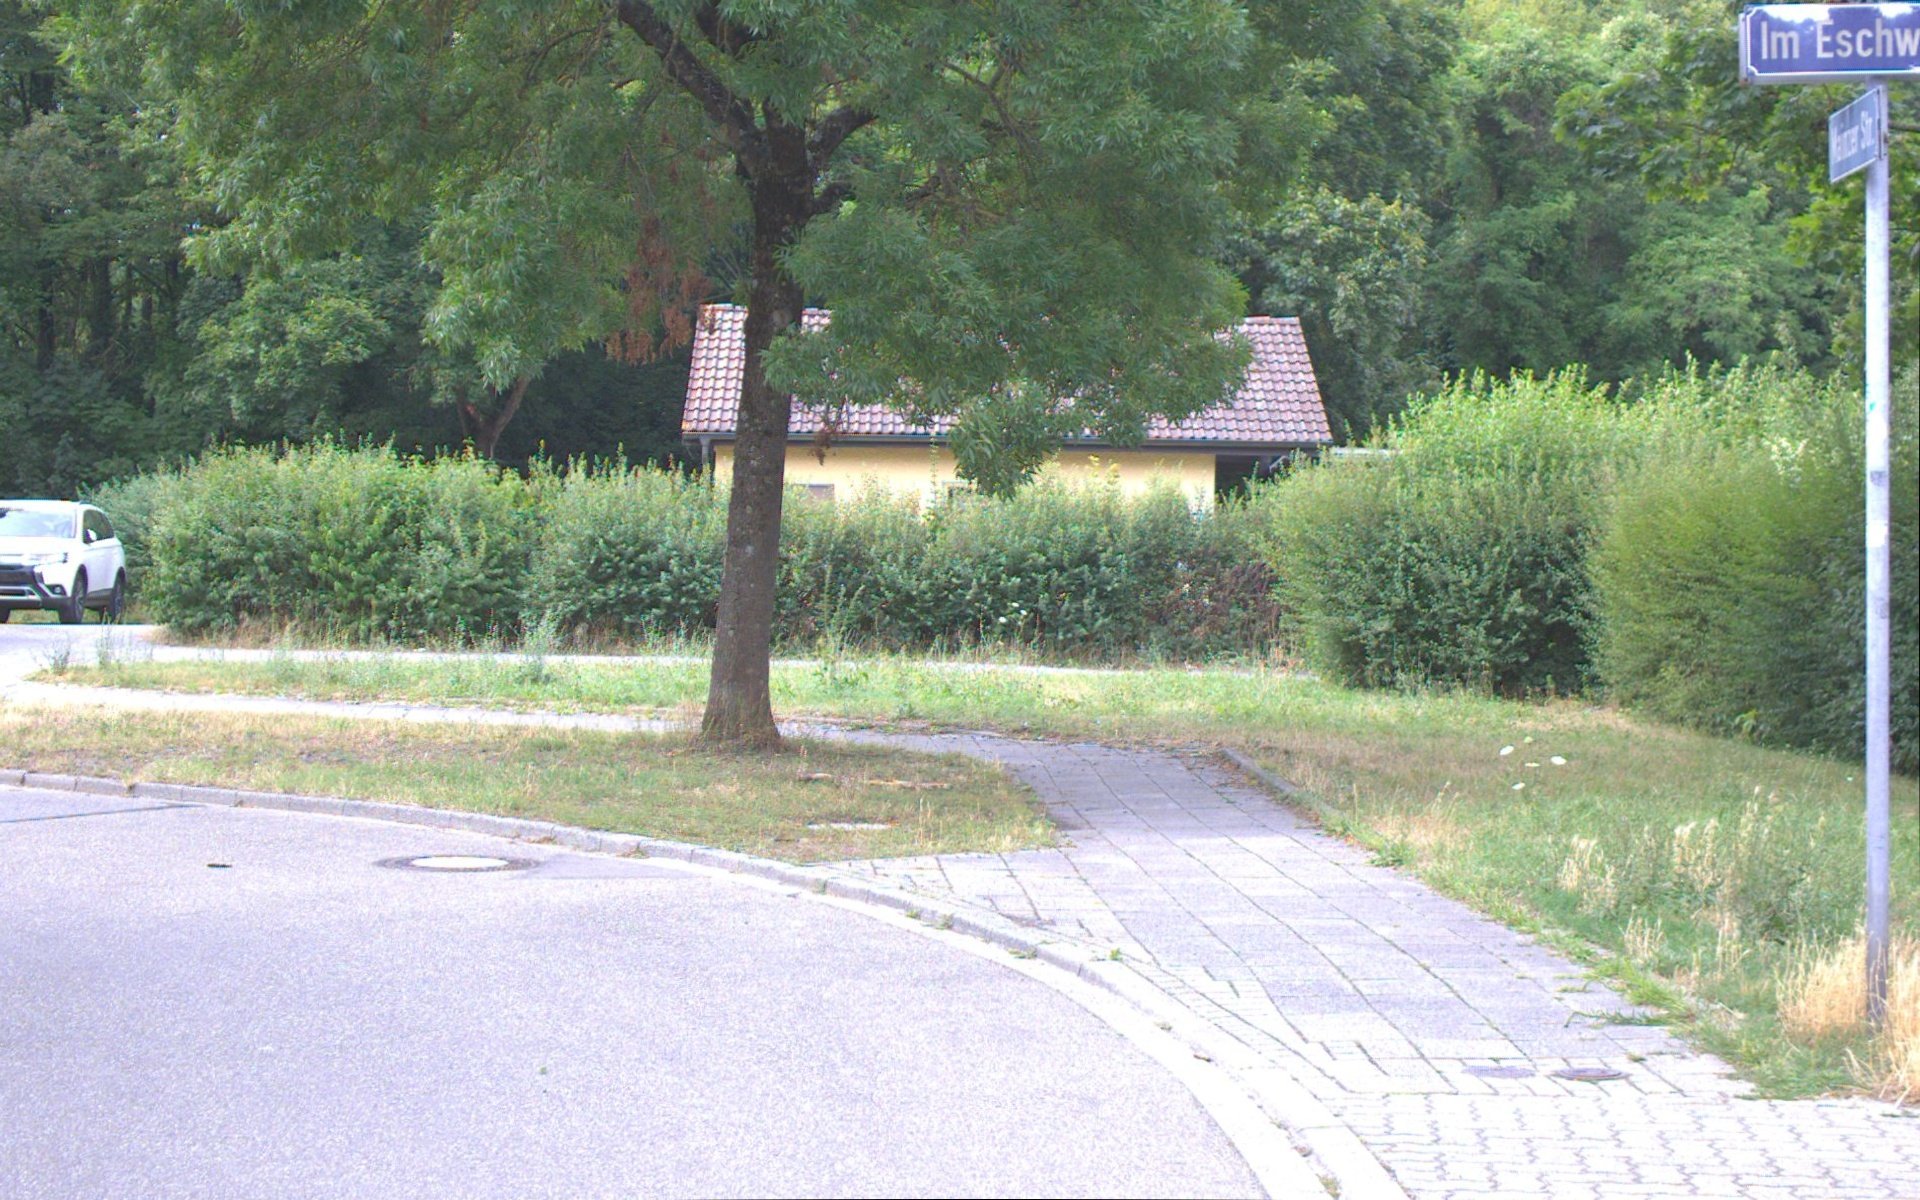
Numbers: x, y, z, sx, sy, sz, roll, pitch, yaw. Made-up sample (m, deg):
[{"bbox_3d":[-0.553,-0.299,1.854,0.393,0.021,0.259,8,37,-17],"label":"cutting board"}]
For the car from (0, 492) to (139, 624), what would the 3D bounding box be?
[{"bbox_3d":[-12.328,-0.578,45.595,1.937,1.654,4.341,1,1,-2],"label":"car"}]
